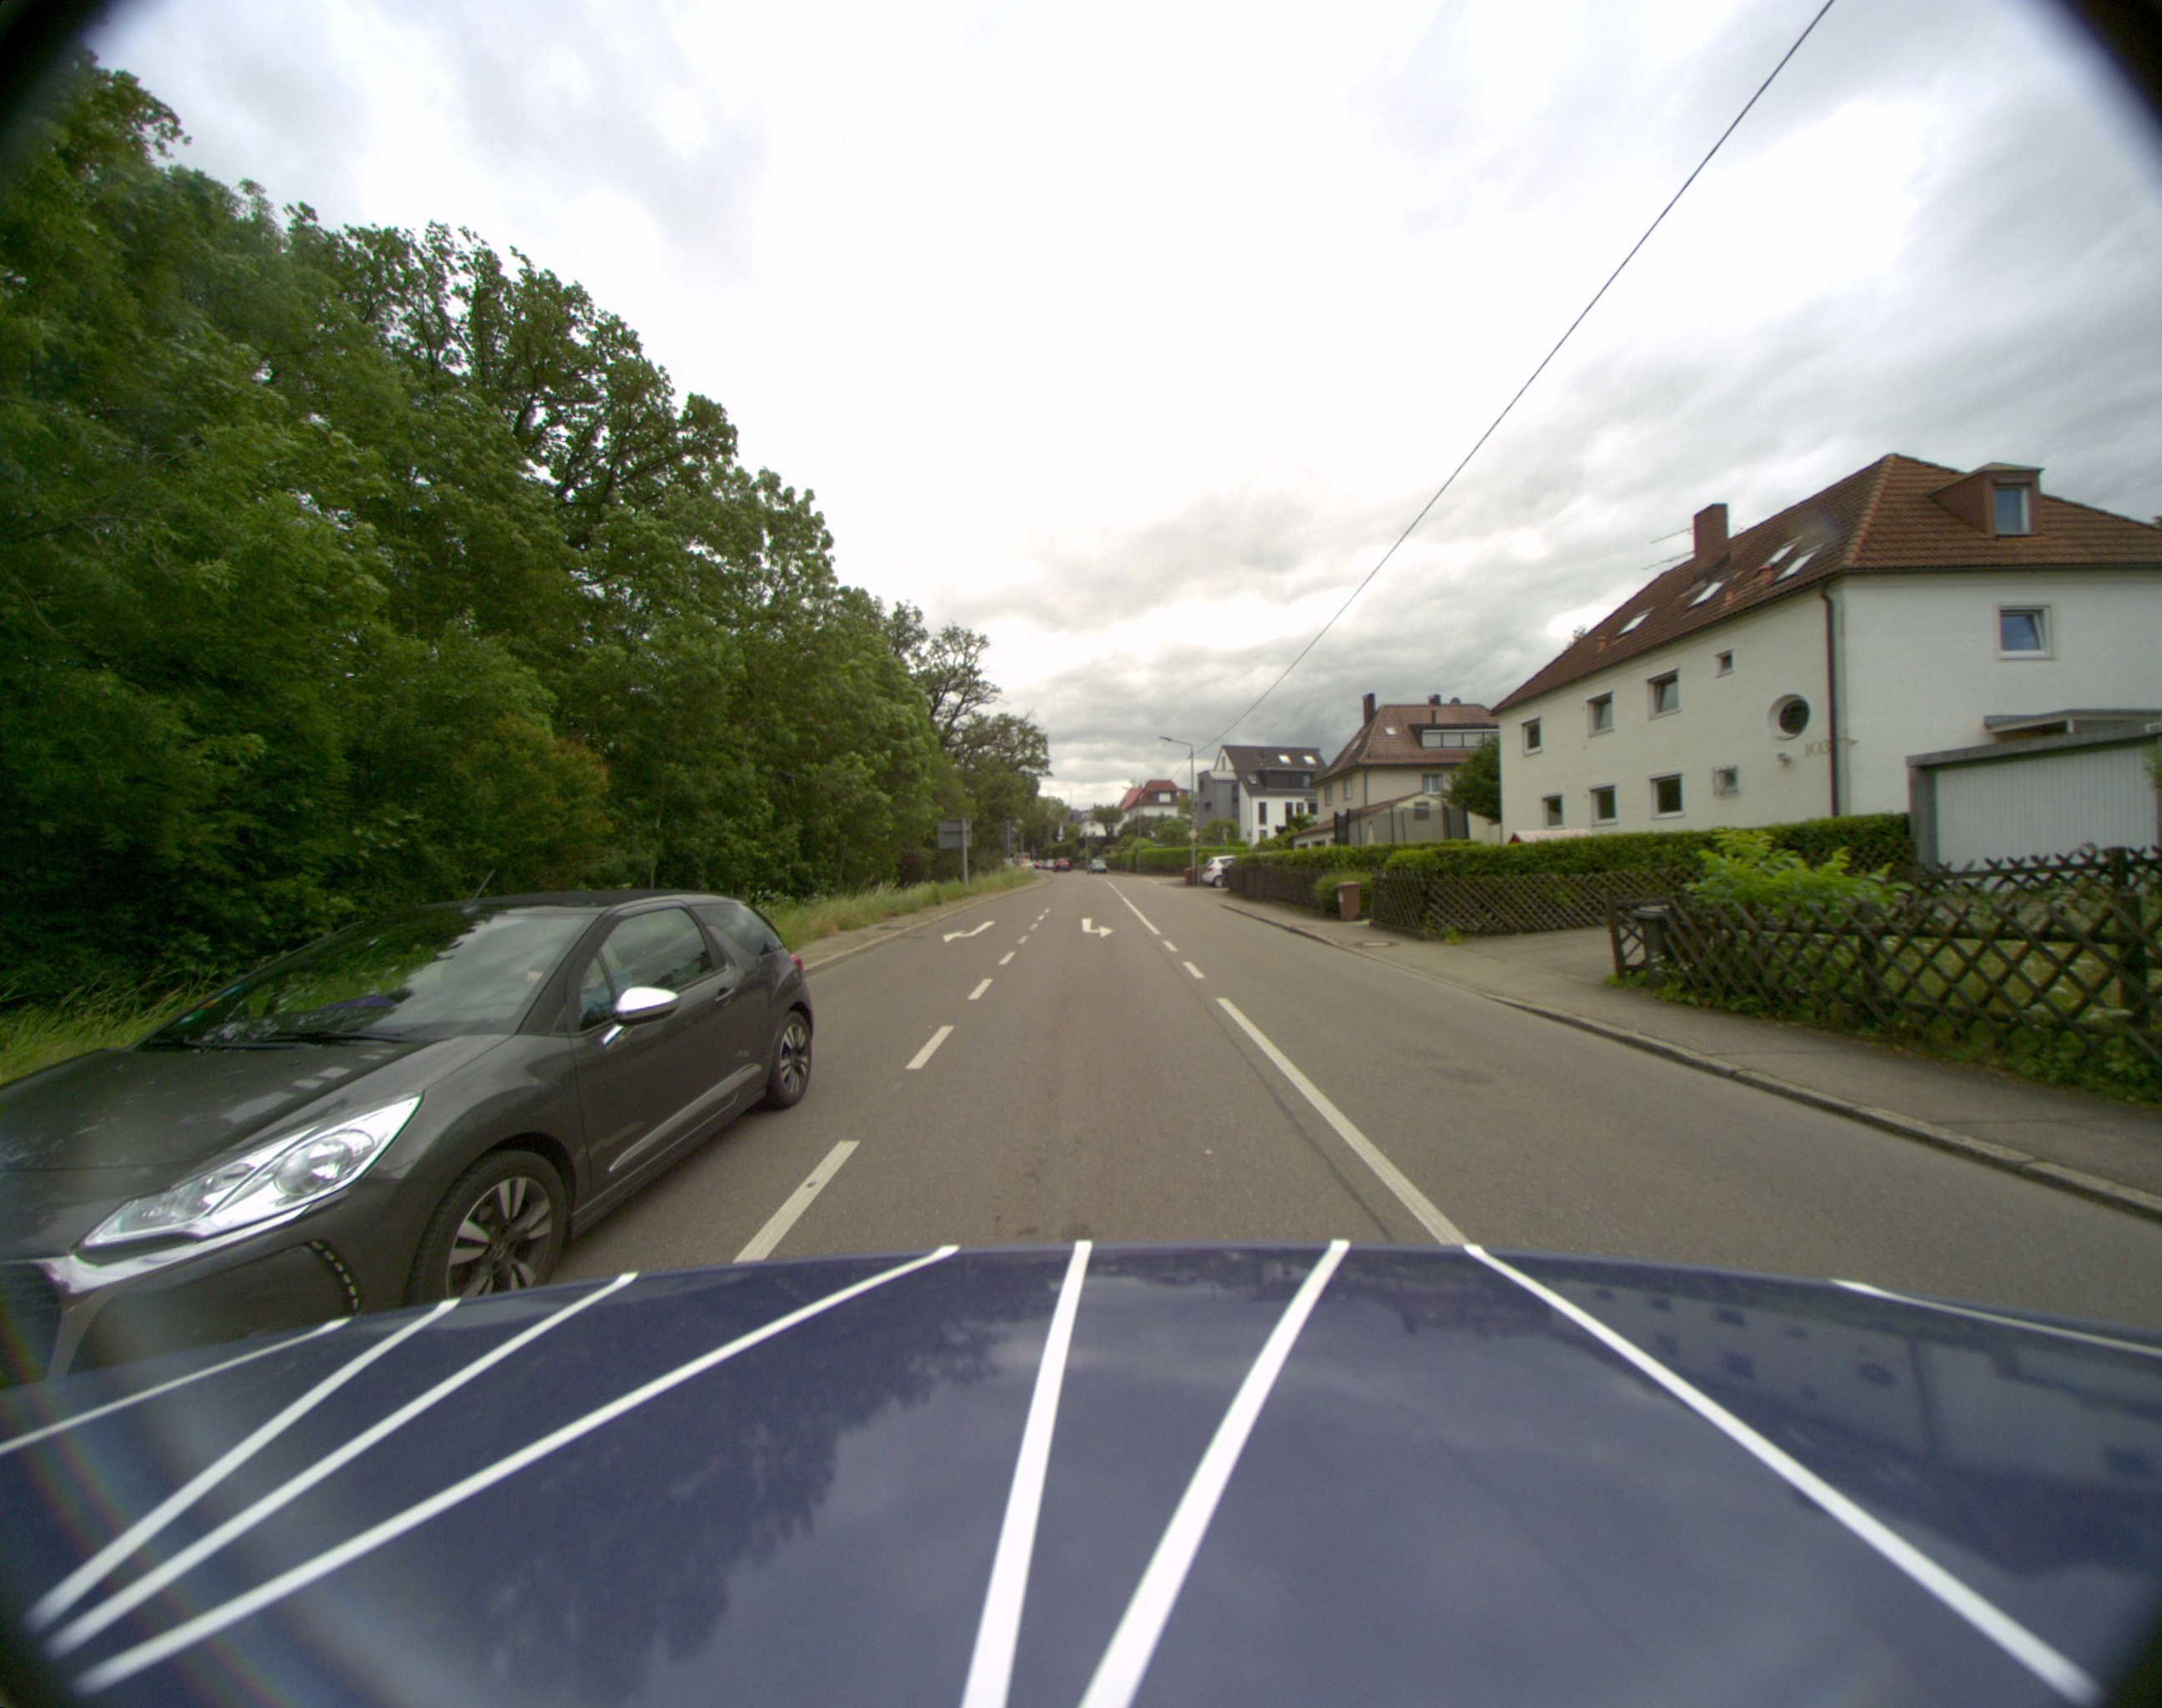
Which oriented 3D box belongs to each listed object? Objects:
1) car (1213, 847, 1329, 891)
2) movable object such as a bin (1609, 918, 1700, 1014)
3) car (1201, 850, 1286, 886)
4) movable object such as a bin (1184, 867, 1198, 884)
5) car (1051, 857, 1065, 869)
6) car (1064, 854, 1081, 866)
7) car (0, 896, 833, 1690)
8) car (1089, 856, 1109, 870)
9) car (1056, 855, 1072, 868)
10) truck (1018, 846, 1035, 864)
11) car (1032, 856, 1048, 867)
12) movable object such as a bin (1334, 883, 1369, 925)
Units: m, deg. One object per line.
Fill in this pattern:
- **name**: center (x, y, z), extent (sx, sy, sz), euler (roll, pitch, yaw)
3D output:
- **car**: center (8.464, 0.657, 34.114), extent (4.682, 1.660, 1.882), euler (-3, 0, -1)
- **movable object such as a bin**: center (6.022, 1.162, 7.998), extent (0.551, 0.932, 0.538), euler (-1, 0, 2)
- **car**: center (8.401, 0.722, 39.531), extent (3.997, 1.584, 1.718), euler (-3, 0, 1)
- **movable object such as a bin**: center (6.167, 1.202, 42.541), extent (0.689, 0.948, 0.572), euler (-1, 0, 12)
- **car**: center (-3.747, 1.438, 122.348), extent (1.833, 1.665, 3.996), euler (-1, 1, -7)
- **car**: center (-1.275, 0.859, 108.776), extent (1.876, 1.569, 3.997), euler (-1, 0, -8)
- **car**: center (-2.733, 1.059, 3.541), extent (1.730, 1.449, 3.855), euler (-2, 0, 2)
- **car**: center (2.005, 0.982, 85.076), extent (1.840, 1.514, 3.998), euler (-1, 0, -5)
- **car**: center (-2.235, 1.003, 99.702), extent (1.818, 1.590, 3.955), euler (-1, 0, -4)
- **truck**: center (-11.331, 0.183, 158.127), extent (3.008, 3.618, 7.083), euler (-1, 0, -8)
- **car**: center (-6.782, 1.155, 125.712), extent (2.001, 1.749, 3.996), euler (-1, 0, -12)
- **movable object such as a bin**: center (6.218, 1.142, 17.481), extent (0.634, 0.907, 0.561), euler (-3, 0, 10)
